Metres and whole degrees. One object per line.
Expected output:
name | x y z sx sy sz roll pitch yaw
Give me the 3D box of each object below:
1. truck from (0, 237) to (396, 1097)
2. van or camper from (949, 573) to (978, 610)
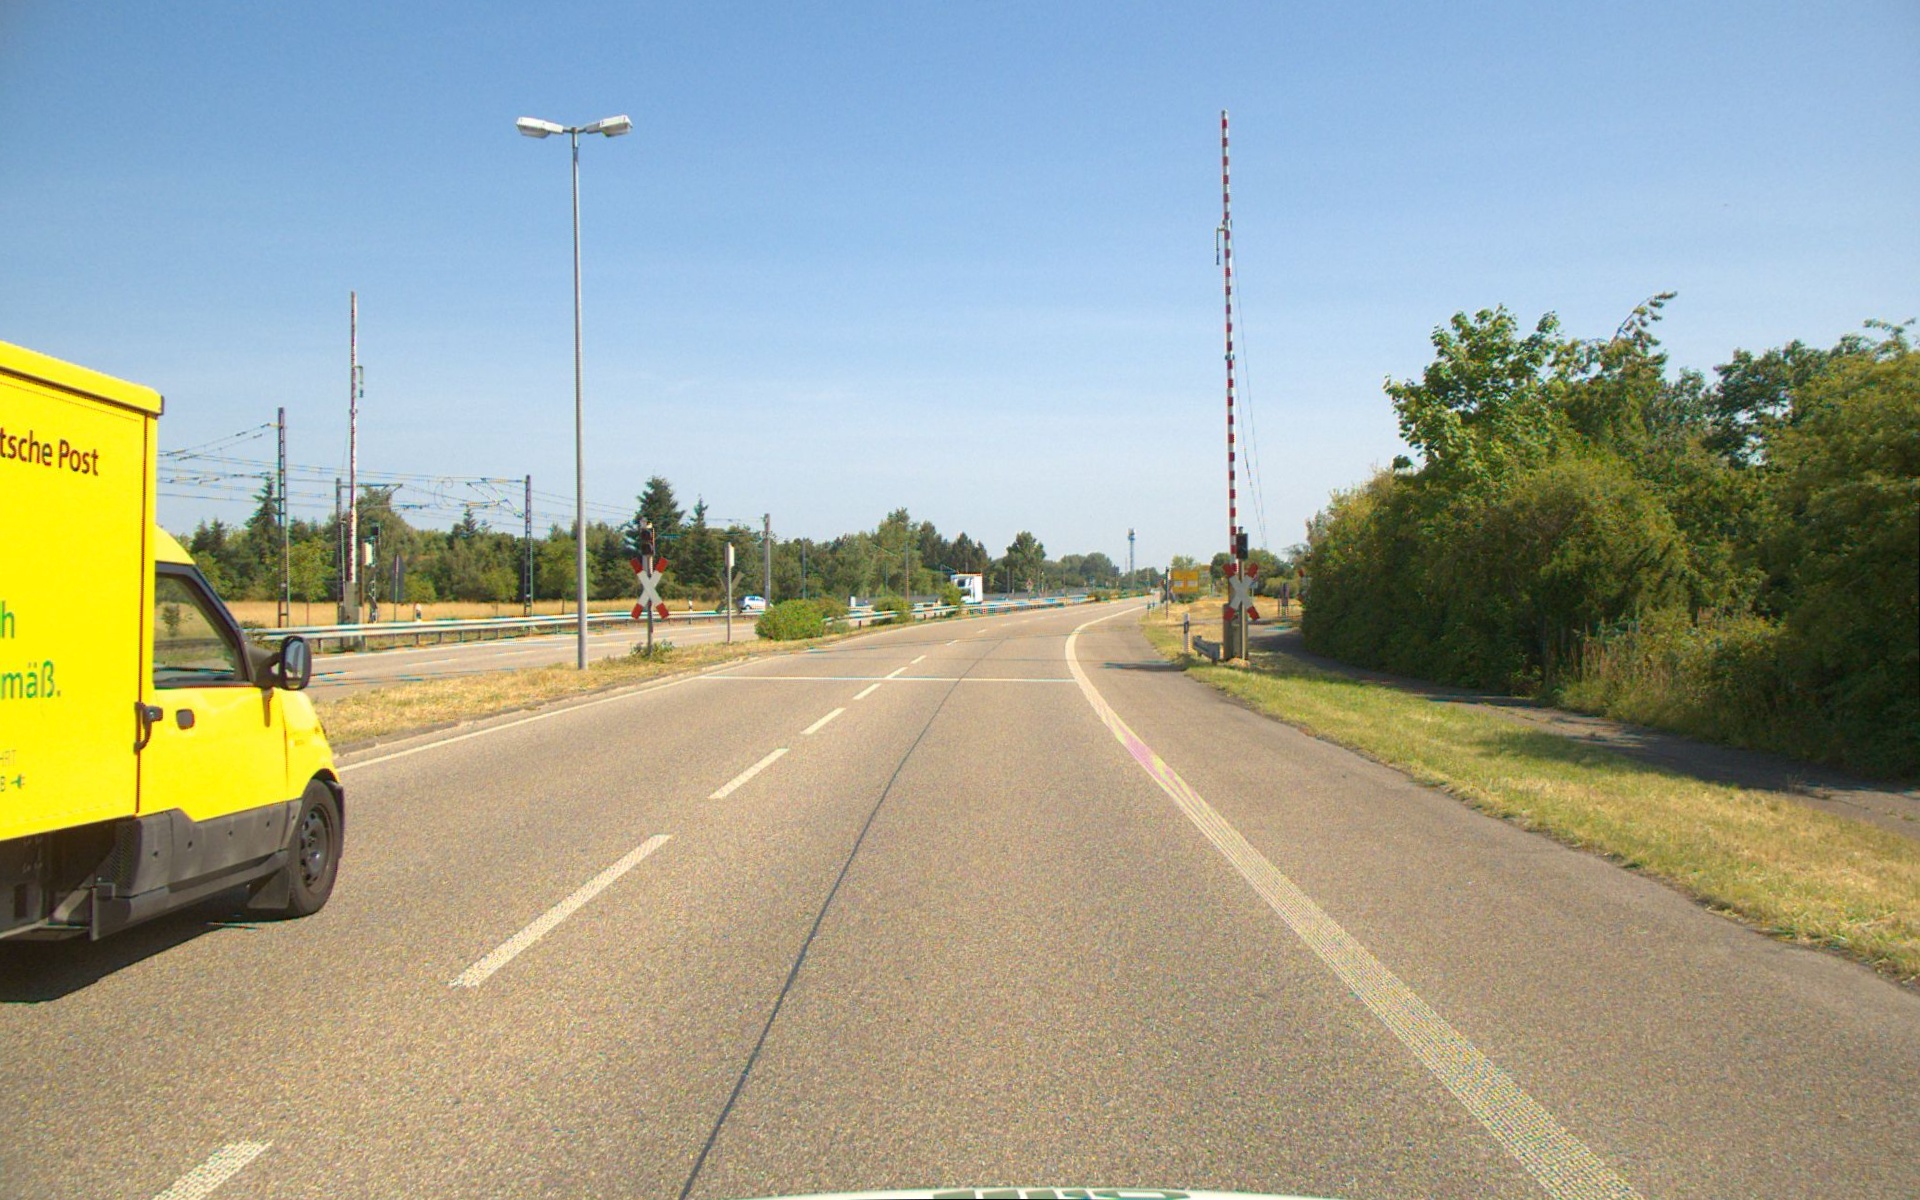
truck | -3.839 0.186 5.411 2.069 2.500 5.915 1 0 -2
van or camper | 0.404 -0.865 173.669 2.817 3.745 8.645 0 0 1
